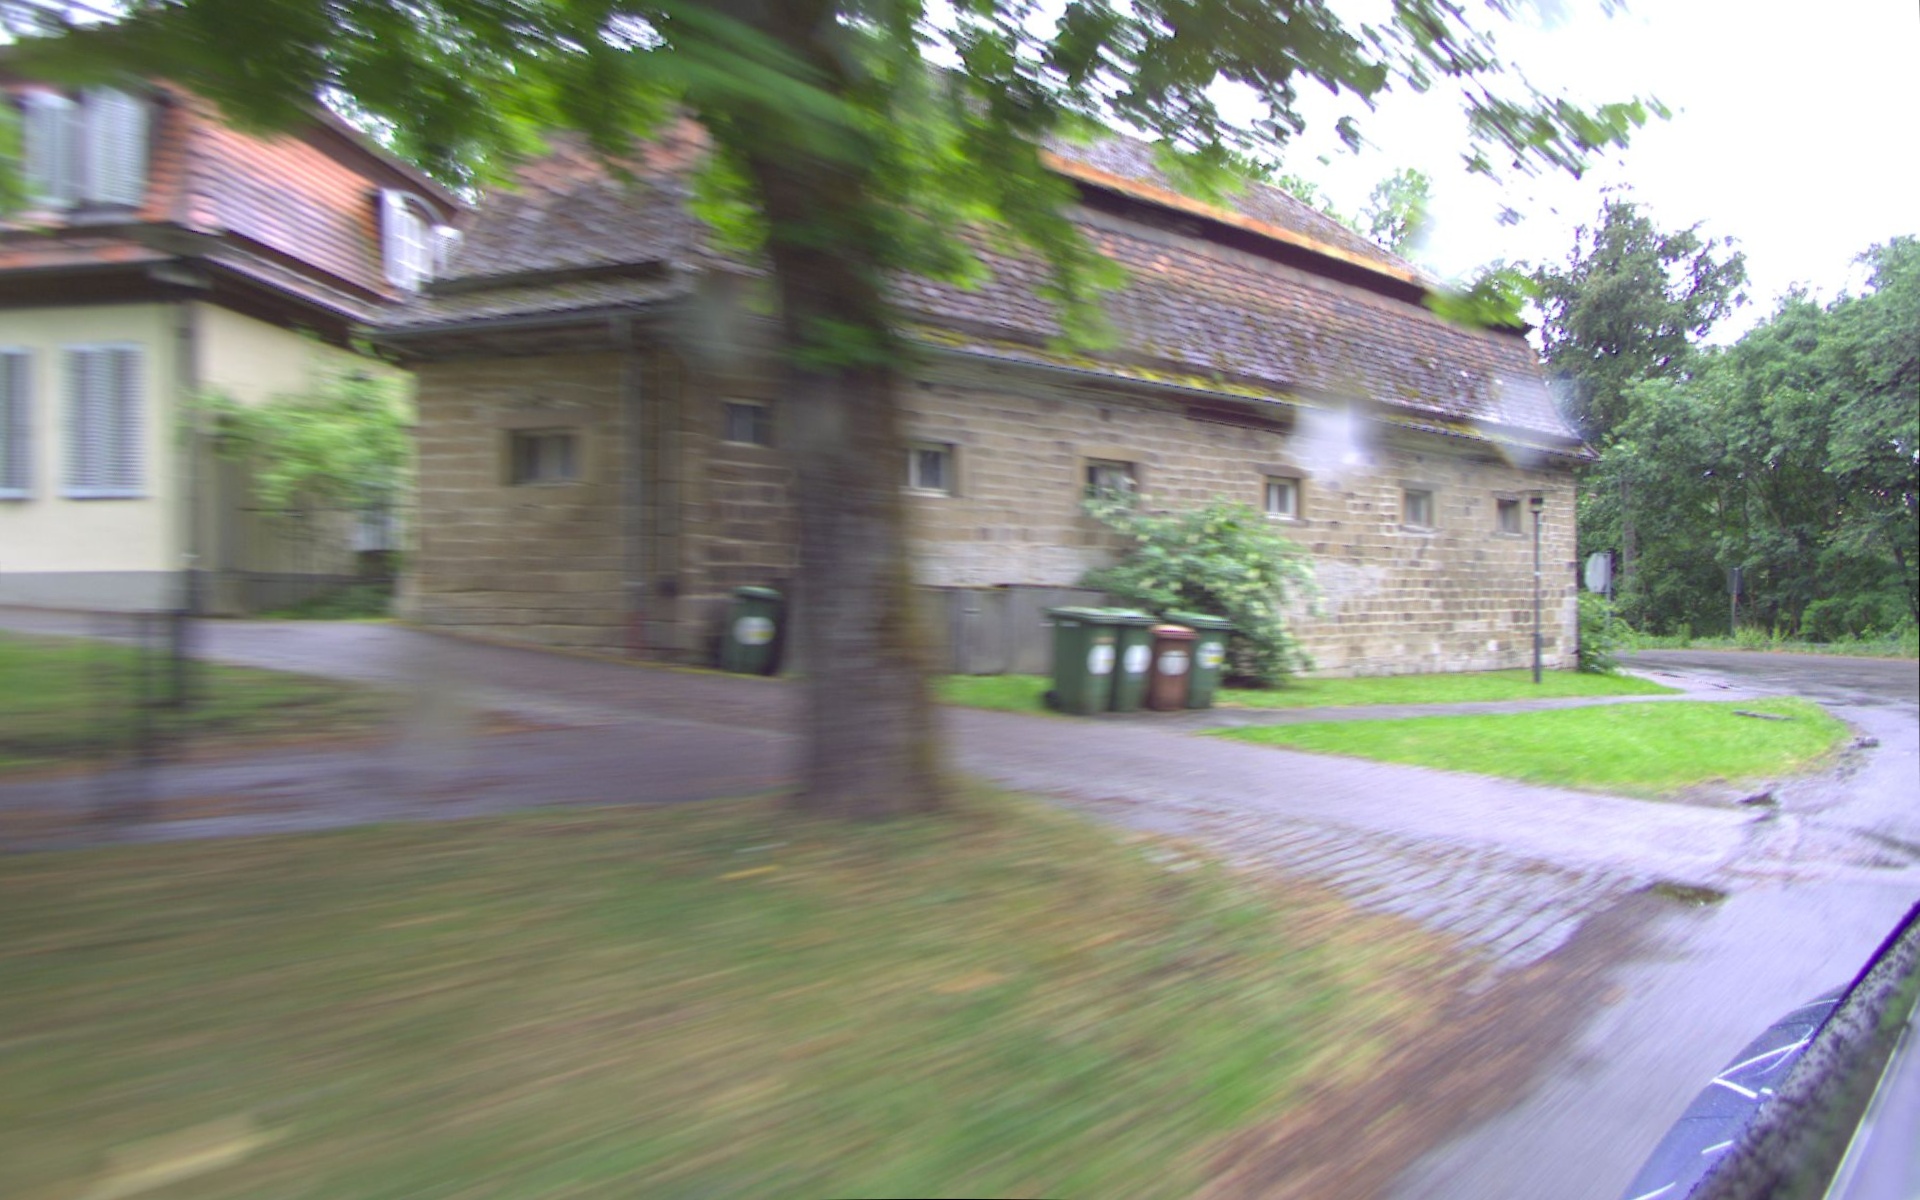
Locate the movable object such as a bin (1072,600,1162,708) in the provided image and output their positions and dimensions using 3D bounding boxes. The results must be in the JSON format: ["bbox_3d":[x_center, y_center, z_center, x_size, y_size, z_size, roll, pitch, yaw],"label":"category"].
[{"bbox_3d":[1.693,0.562,10.956,0.564,1.051,0.699,1,6,-33],"label":"movable object such as a bin"}]

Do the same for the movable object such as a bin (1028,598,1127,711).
[{"bbox_3d":[1.200,0.541,10.432,0.647,1.051,0.699,1,6,-33],"label":"movable object such as a bin"}]

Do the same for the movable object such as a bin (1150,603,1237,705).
[{"bbox_3d":[2.686,0.604,11.674,0.564,1.051,0.699,1,6,-33],"label":"movable object such as a bin"}]

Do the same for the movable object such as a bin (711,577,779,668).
[{"bbox_3d":[-2.359,0.234,11.075,0.523,0.917,0.553,1,6,-33],"label":"movable object such as a bin"}]
